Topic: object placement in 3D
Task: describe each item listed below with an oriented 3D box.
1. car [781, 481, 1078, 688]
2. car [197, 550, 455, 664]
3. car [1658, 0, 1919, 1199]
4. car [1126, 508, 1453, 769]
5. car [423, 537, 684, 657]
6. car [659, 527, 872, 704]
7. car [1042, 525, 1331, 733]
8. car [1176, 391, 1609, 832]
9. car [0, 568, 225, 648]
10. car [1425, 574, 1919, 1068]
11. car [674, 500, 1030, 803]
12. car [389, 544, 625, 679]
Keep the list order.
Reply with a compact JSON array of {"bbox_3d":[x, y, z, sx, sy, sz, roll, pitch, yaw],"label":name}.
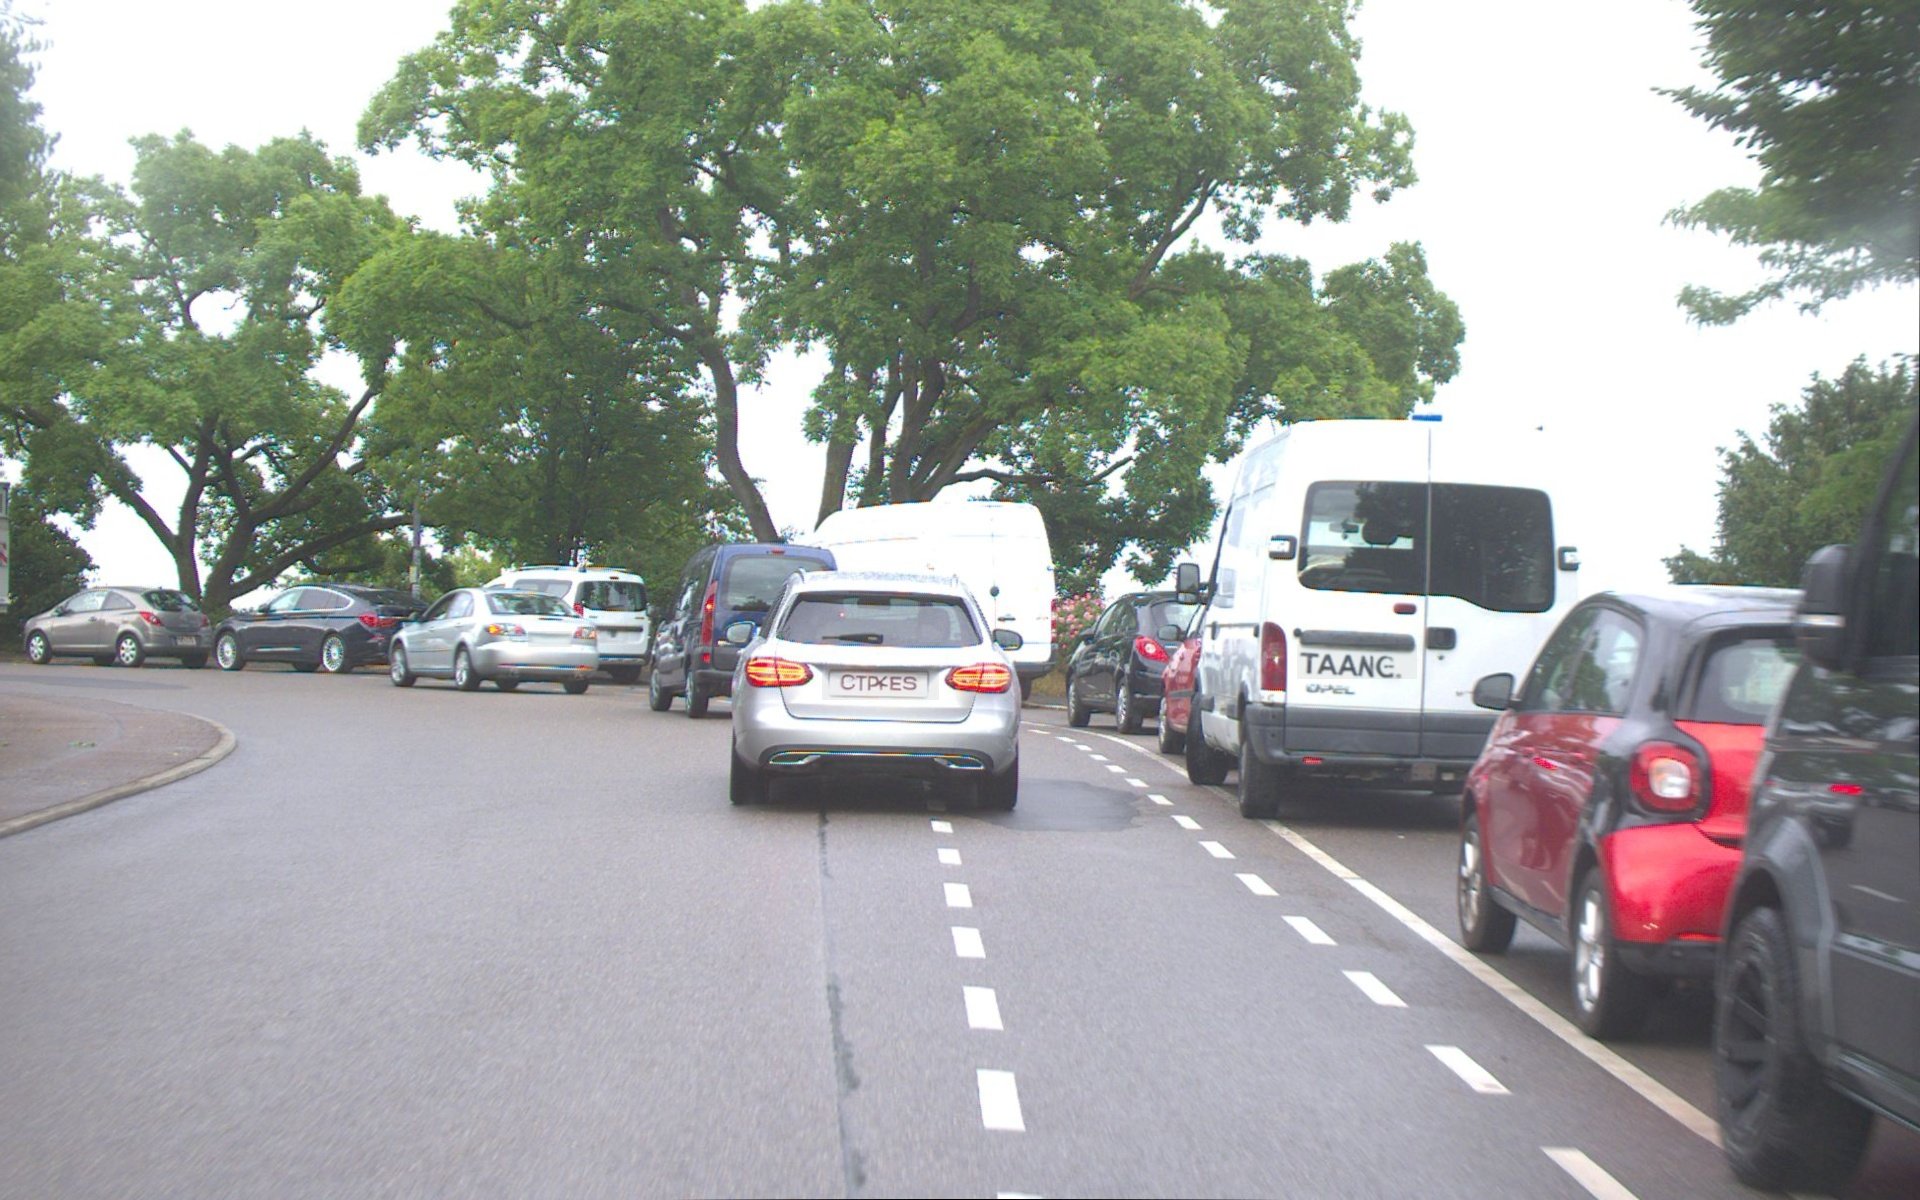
[{"bbox_3d":[-0.474,-0.254,45.715,2.125,2.518,4.497,3,1,-25],"label":"car"},{"bbox_3d":[-10.999,0.106,59.490,4.667,1.692,1.965,4,1,44],"label":"car"},{"bbox_3d":[3.148,0.132,6.586,2.124,2.877,5.770,3,1,-2],"label":"car"},{"bbox_3d":[2.716,0.271,29.406,2.064,1.953,4.497,3,1,-3],"label":"car"},{"bbox_3d":[-6.656,-0.070,55.917,1.965,1.692,4.495,3,1,-41],"label":"car"},{"bbox_3d":[-2.145,0.168,36.837,1.993,1.702,4.001,2,-1,-6],"label":"car"},{"bbox_3d":[2.301,0.252,36.261,2.063,1.953,4.498,3,1,-8],"label":"car"},{"bbox_3d":[2.695,0.039,22.629,2.064,2.486,4.760,3,1,-1],"label":"car"},{"bbox_3d":[-15.795,0.125,63.064,4.490,1.397,1.967,0,1,35],"label":"car"},{"bbox_3d":[2.864,0.717,12.894,1.583,1.522,3.586,3,1,-1],"label":"car"},{"bbox_3d":[-0.682,0.278,22.279,2.025,1.702,4.216,2,1,-1],"label":"car"},{"bbox_3d":[-6.248,0.136,47.078,1.993,1.702,4.001,3,-1,-25],"label":"car"}]
